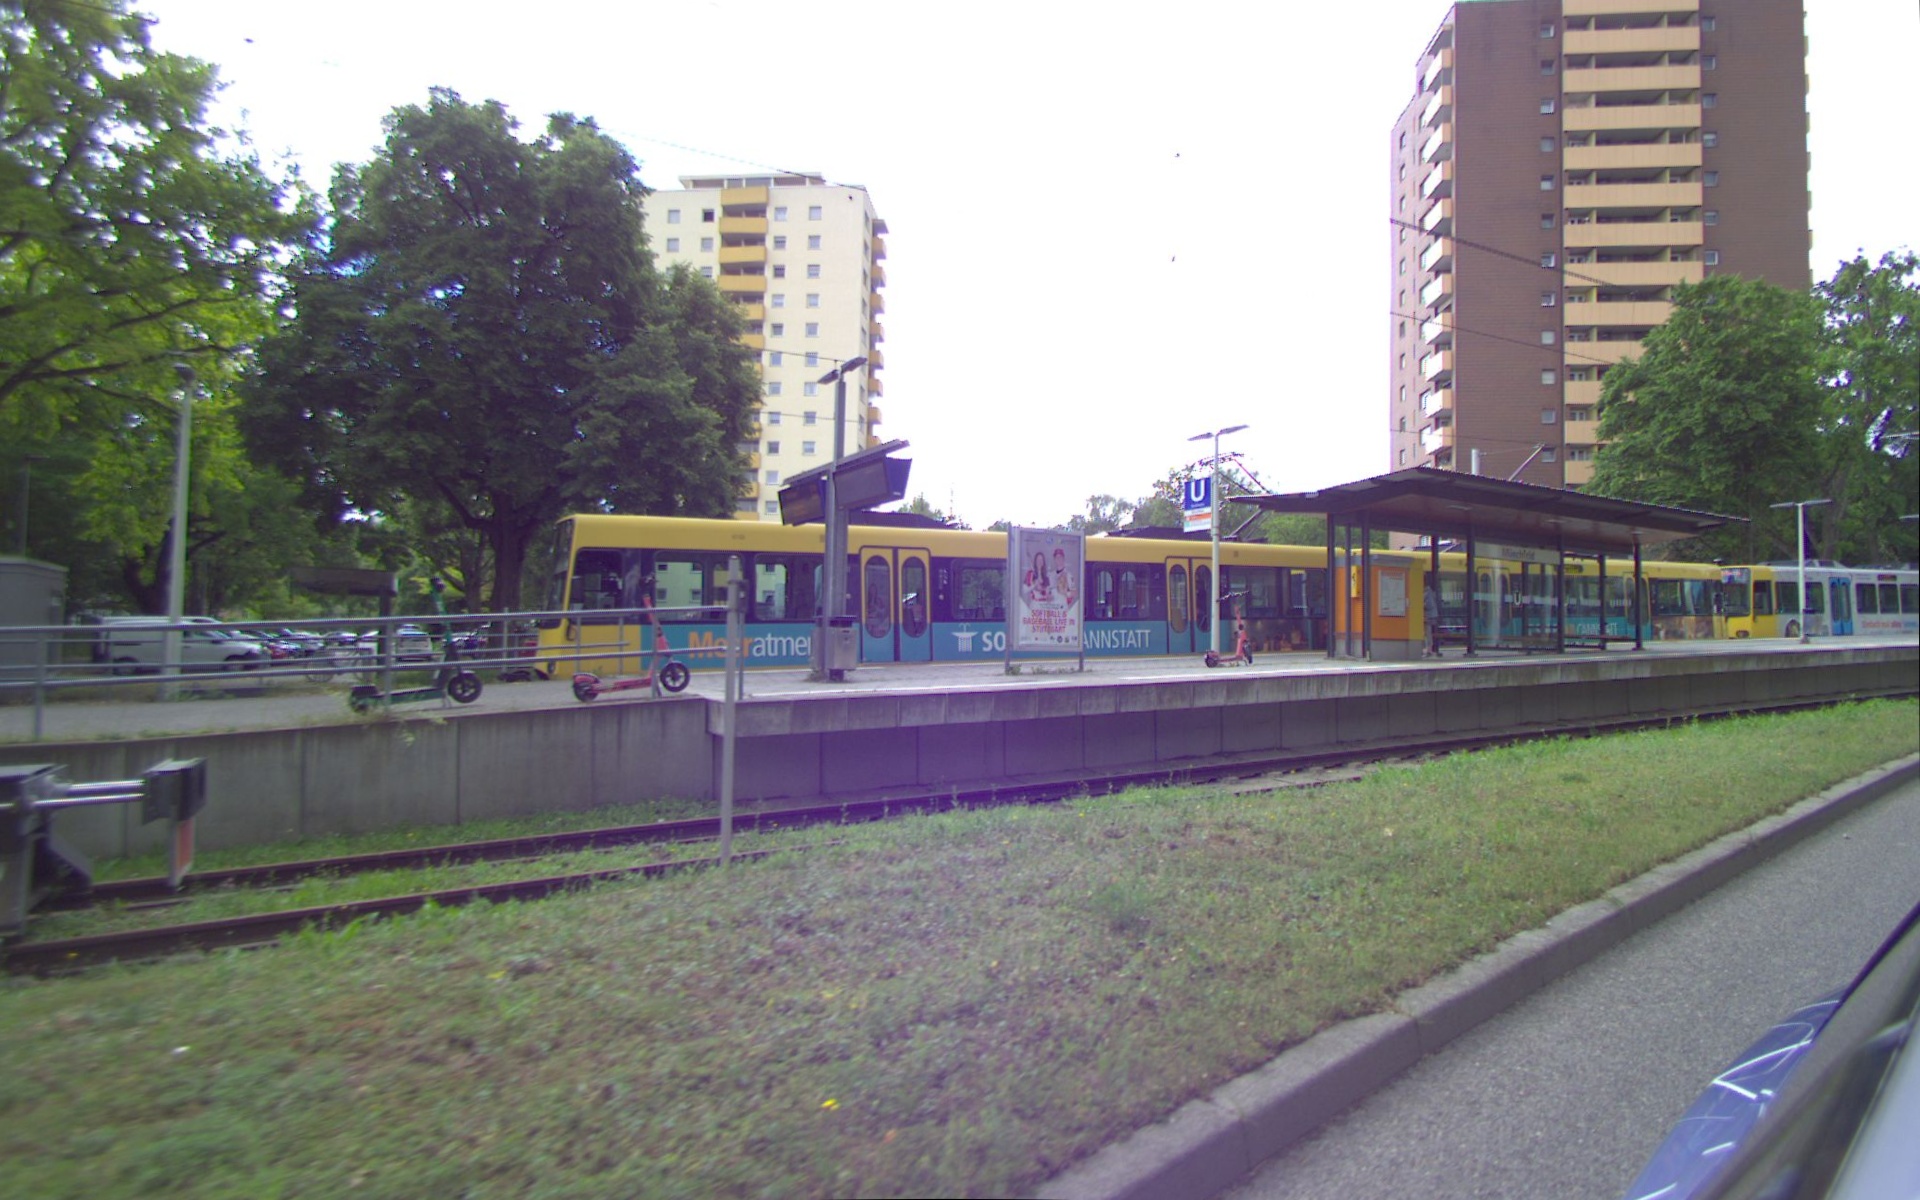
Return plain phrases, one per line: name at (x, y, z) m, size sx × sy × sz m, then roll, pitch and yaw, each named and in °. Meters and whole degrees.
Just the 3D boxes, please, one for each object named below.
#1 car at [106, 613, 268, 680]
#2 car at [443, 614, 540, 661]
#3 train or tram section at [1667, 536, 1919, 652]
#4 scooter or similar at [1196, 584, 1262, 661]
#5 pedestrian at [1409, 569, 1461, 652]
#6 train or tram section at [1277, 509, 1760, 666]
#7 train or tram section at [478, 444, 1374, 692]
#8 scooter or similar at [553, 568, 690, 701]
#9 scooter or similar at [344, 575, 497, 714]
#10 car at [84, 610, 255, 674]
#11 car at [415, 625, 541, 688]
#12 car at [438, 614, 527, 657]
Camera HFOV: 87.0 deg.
car at (-24.975, 1.449, 32.896) m, size 3.919 × 2.039 × 1.907 m, roll 0°, pitch 0°, yaw -30°
car at (-21.548, 1.677, 46.531) m, size 3.919 × 2.039 × 1.907 m, roll 0°, pitch 0°, yaw -30°
train or tram section at (34.359, -0.071, 38.785) m, size 18.540 × 3.849 × 2.826 m, roll 0°, pitch -3°, yaw -25°
scooter or similar at (4.536, 0.381, 17.050) m, size 1.123 × 1.258 × 0.369 m, roll 1°, pitch -2°, yaw -30°
pedestrian at (9.371, 0.207, 19.996) m, size 0.651 × 1.593 × 0.625 m, roll 0°, pitch -1°, yaw -12°
train or tram section at (17.471, -0.151, 30.203) m, size 19.118 × 3.786 × 2.824 m, roll 1°, pitch -3°, yaw -29°
train or tram section at (0.817, -0.318, 20.702) m, size 19.119 × 3.636 × 2.824 m, roll 1°, pitch -3°, yaw -29°
scooter or similar at (-3.447, 0.322, 10.344) m, size 1.232 × 1.269 × 0.431 m, roll -2°, pitch 0°, yaw -39°
scooter or similar at (-5.242, 0.399, 9.867) m, size 1.233 × 1.269 × 0.430 m, roll -2°, pitch 0°, yaw -42°
car at (-26.976, 1.388, 34.736) m, size 4.363 × 2.039 × 1.907 m, roll 0°, pitch 0°, yaw -30°
car at (-17.041, 1.936, 35.796) m, size 3.919 × 2.039 × 1.907 m, roll 0°, pitch 0°, yaw -30°
car at (-23.809, 1.719, 50.471) m, size 3.919 × 2.039 × 1.907 m, roll 0°, pitch 0°, yaw -30°
